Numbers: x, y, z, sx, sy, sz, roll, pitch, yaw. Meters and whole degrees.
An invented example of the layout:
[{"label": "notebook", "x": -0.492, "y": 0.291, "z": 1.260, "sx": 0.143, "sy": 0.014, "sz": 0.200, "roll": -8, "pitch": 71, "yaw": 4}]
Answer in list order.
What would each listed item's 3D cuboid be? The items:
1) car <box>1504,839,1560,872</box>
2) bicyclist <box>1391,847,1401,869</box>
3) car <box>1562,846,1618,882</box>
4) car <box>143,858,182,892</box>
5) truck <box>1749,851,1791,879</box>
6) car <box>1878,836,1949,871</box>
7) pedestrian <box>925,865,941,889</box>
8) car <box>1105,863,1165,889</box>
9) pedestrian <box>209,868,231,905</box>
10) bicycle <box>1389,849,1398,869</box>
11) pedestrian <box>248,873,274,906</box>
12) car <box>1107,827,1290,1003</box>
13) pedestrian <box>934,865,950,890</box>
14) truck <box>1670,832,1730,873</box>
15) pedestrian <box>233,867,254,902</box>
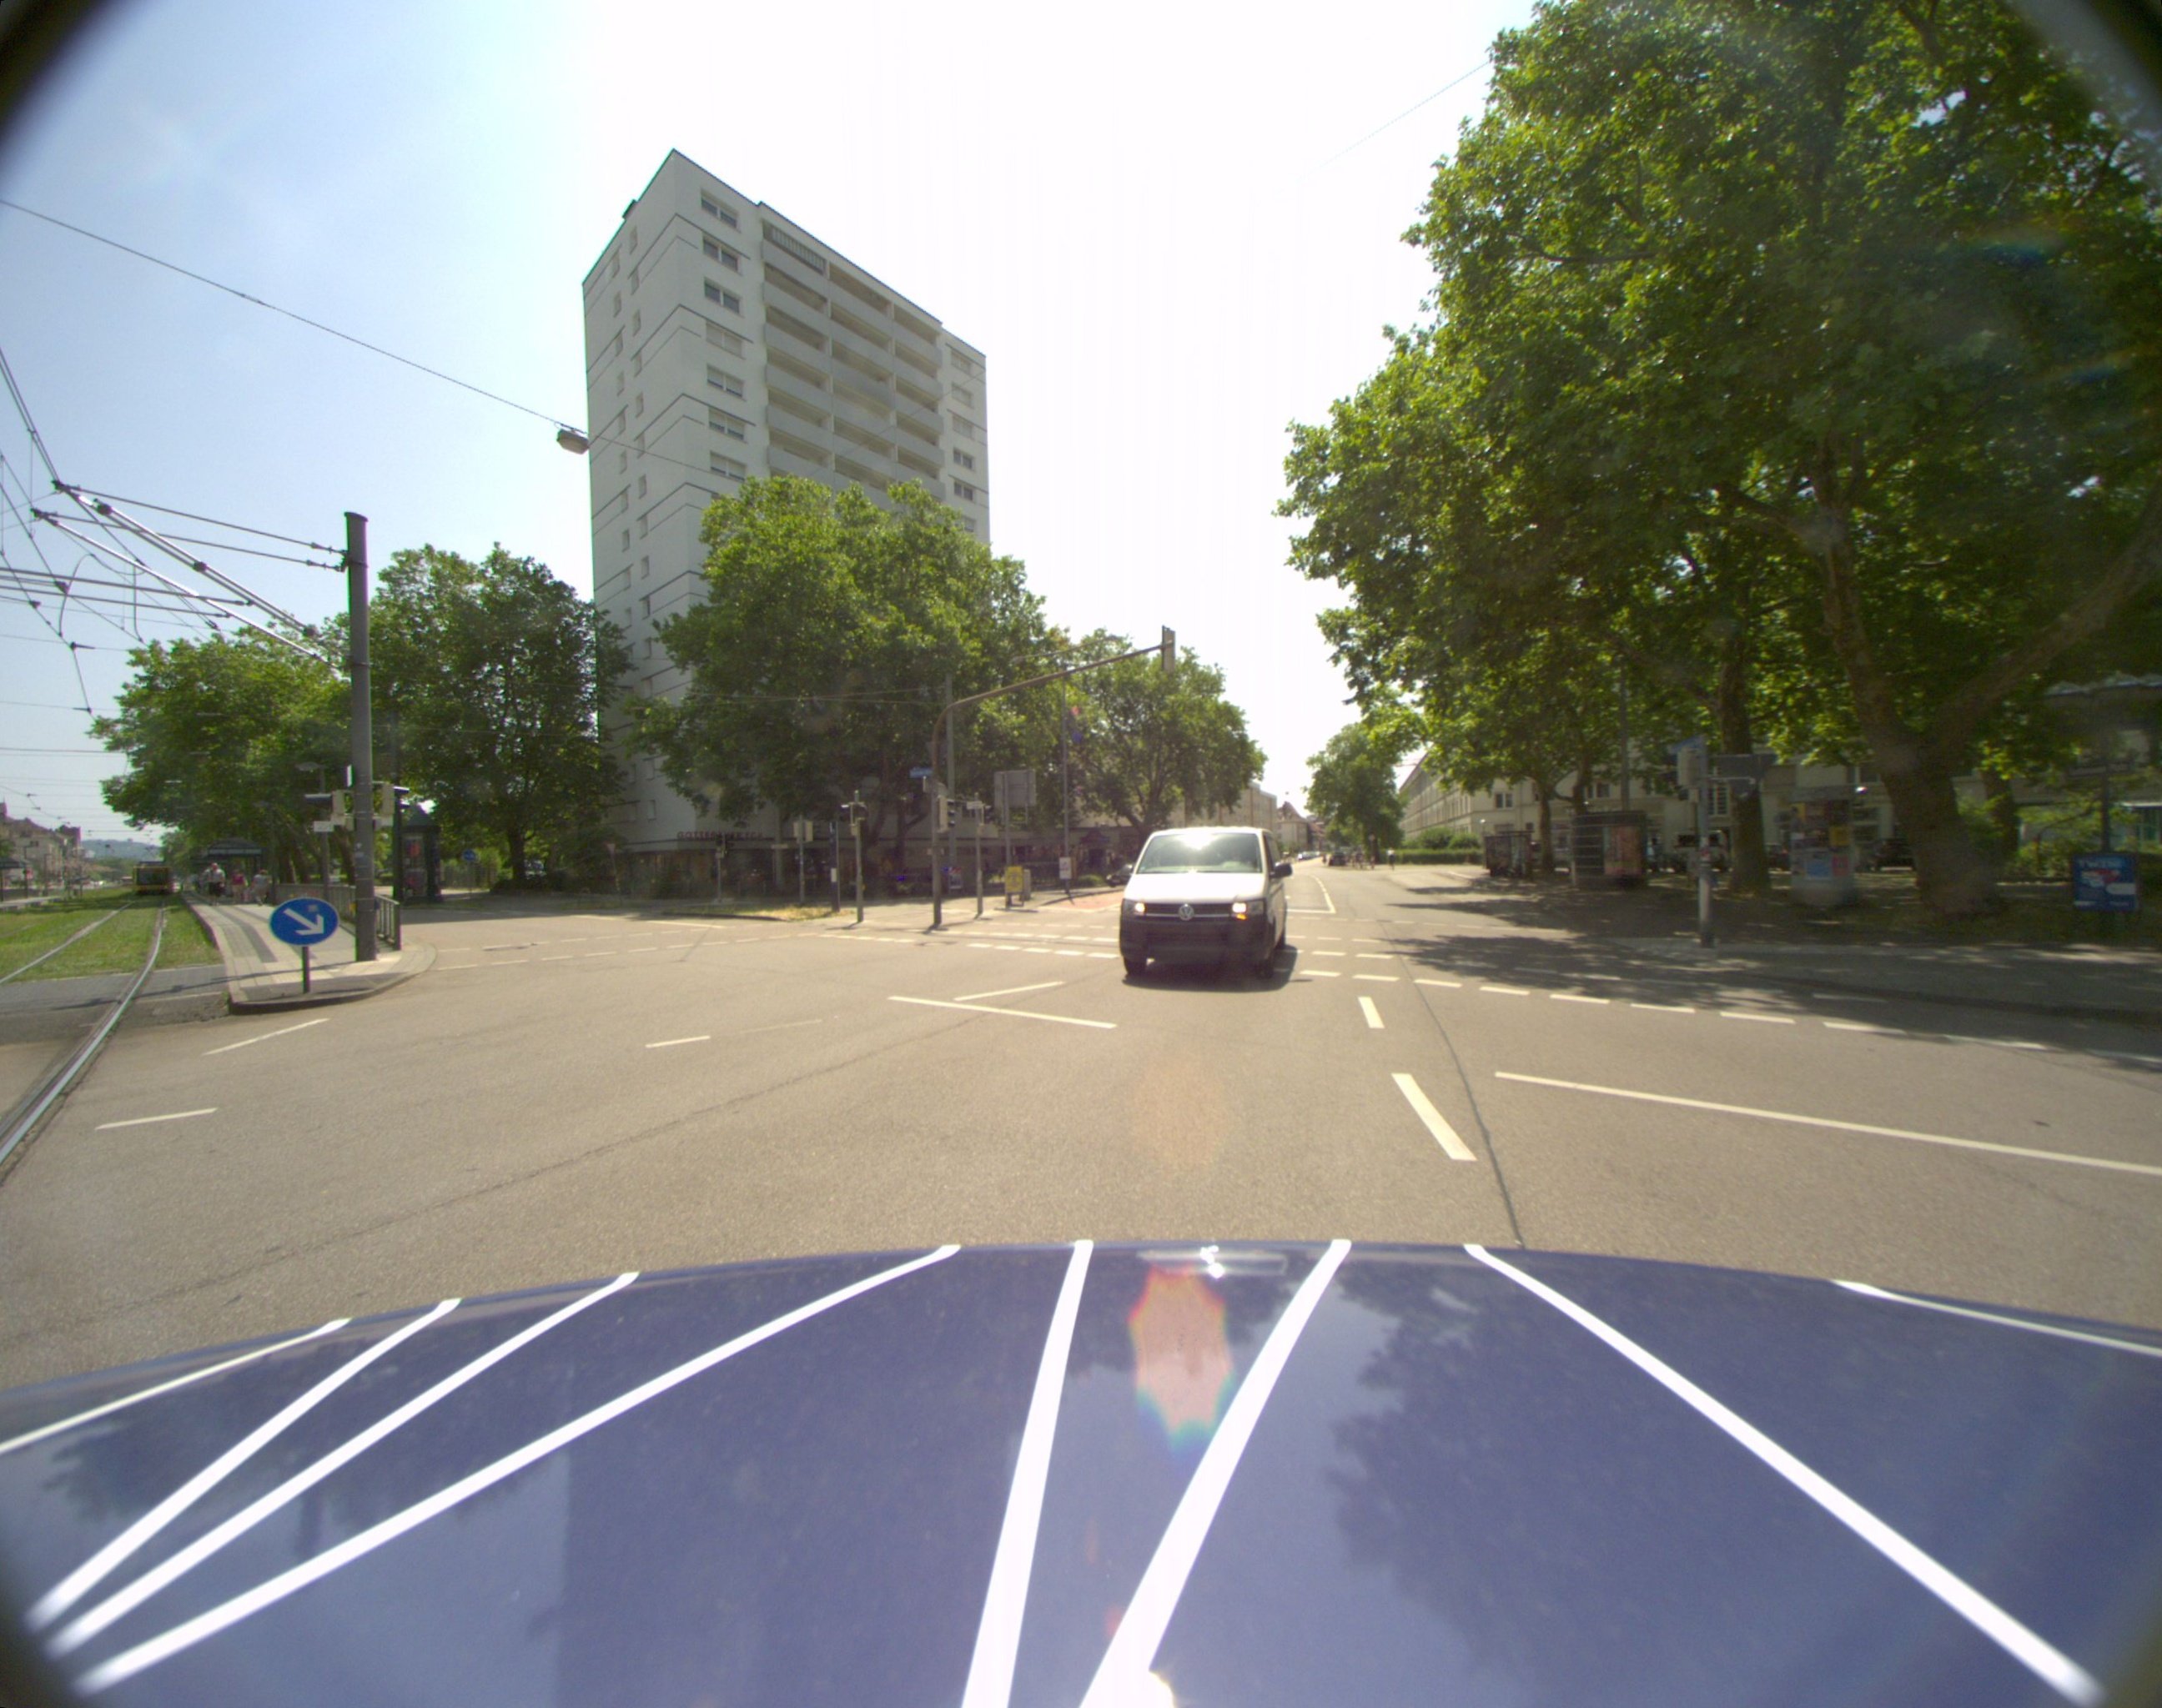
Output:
[{"label": "car", "x": 27.704, "y": 0.082, "z": 46.610, "sx": 1.994, "sy": 1.888, "sz": 4.008, "roll": -1, "pitch": 0, "yaw": 45}, {"label": "bicyclist", "x": 25.158, "y": 0.334, "z": 60.718, "sx": 0.703, "sy": 1.725, "sz": 0.788, "roll": -1, "pitch": 1, "yaw": 25}, {"label": "car", "x": 30.177, "y": 0.562, "z": 44.991, "sx": 1.994, "sy": 2.002, "sz": 4.008, "roll": -1, "pitch": 0, "yaw": 45}, {"label": "car", "x": -96.543, "y": 2.172, "z": 79.956, "sx": 12.000, "sy": 3.319, "sz": 2.281, "roll": -1, "pitch": 0, "yaw": 41}, {"label": "truck", "x": 36.007, "y": 0.543, "z": 39.760, "sx": 1.465, "sy": 1.369, "sz": 2.988, "roll": -1, "pitch": 1, "yaw": 39}, {"label": "car", "x": 40.024, "y": -0.051, "z": 36.625, "sx": 1.929, "sy": 1.591, "sz": 4.008, "roll": -1, "pitch": 0, "yaw": 42}, {"label": "pedestrian", "x": -8.395, "y": 1.311, "z": 43.167, "sx": 0.592, "sy": 1.357, "sz": 0.641, "roll": -1, "pitch": 1, "yaw": 35}, {"label": "car", "x": 3.211, "y": 1.261, "z": 44.336, "sx": 1.798, "sy": 1.338, "sz": 3.801, "roll": -1, "pitch": 1, "yaw": 34}, {"label": "pedestrian", "x": -37.691, "y": 1.404, "z": 33.267, "sx": 0.678, "sy": 1.597, "sz": 0.555, "roll": 0, "pitch": 2, "yaw": 39}, {"label": "bicycle", "x": 24.974, "y": 0.385, "z": 60.697, "sx": 0.595, "sy": 1.546, "sz": 1.846, "roll": -1, "pitch": 1, "yaw": 25}, {"label": "pedestrian", "x": -35.109, "y": 1.505, "z": 32.533, "sx": 0.630, "sy": 1.341, "sz": 0.681, "roll": 0, "pitch": 1, "yaw": 39}, {"label": "car", "x": 1.955, "y": 0.701, "z": 11.011, "sx": 1.850, "sy": 1.942, "sz": 4.950, "roll": -1, "pitch": -1, "yaw": 18}, {"label": "pedestrian", "x": -7.805, "y": 1.301, "z": 42.708, "sx": 0.592, "sy": 1.357, "sz": 0.641, "roll": -1, "pitch": 1, "yaw": 35}, {"label": "truck", "x": 33.929, "y": -0.115, "z": 41.584, "sx": 4.381, "sy": 2.110, "sz": 1.960, "roll": -2, "pitch": 1, "yaw": -43}, {"label": "pedestrian", "x": -38.290, "y": 1.403, "z": 34.740, "sx": 0.513, "sy": 1.571, "sz": 0.548, "roll": 0, "pitch": 2, "yaw": 39}]
